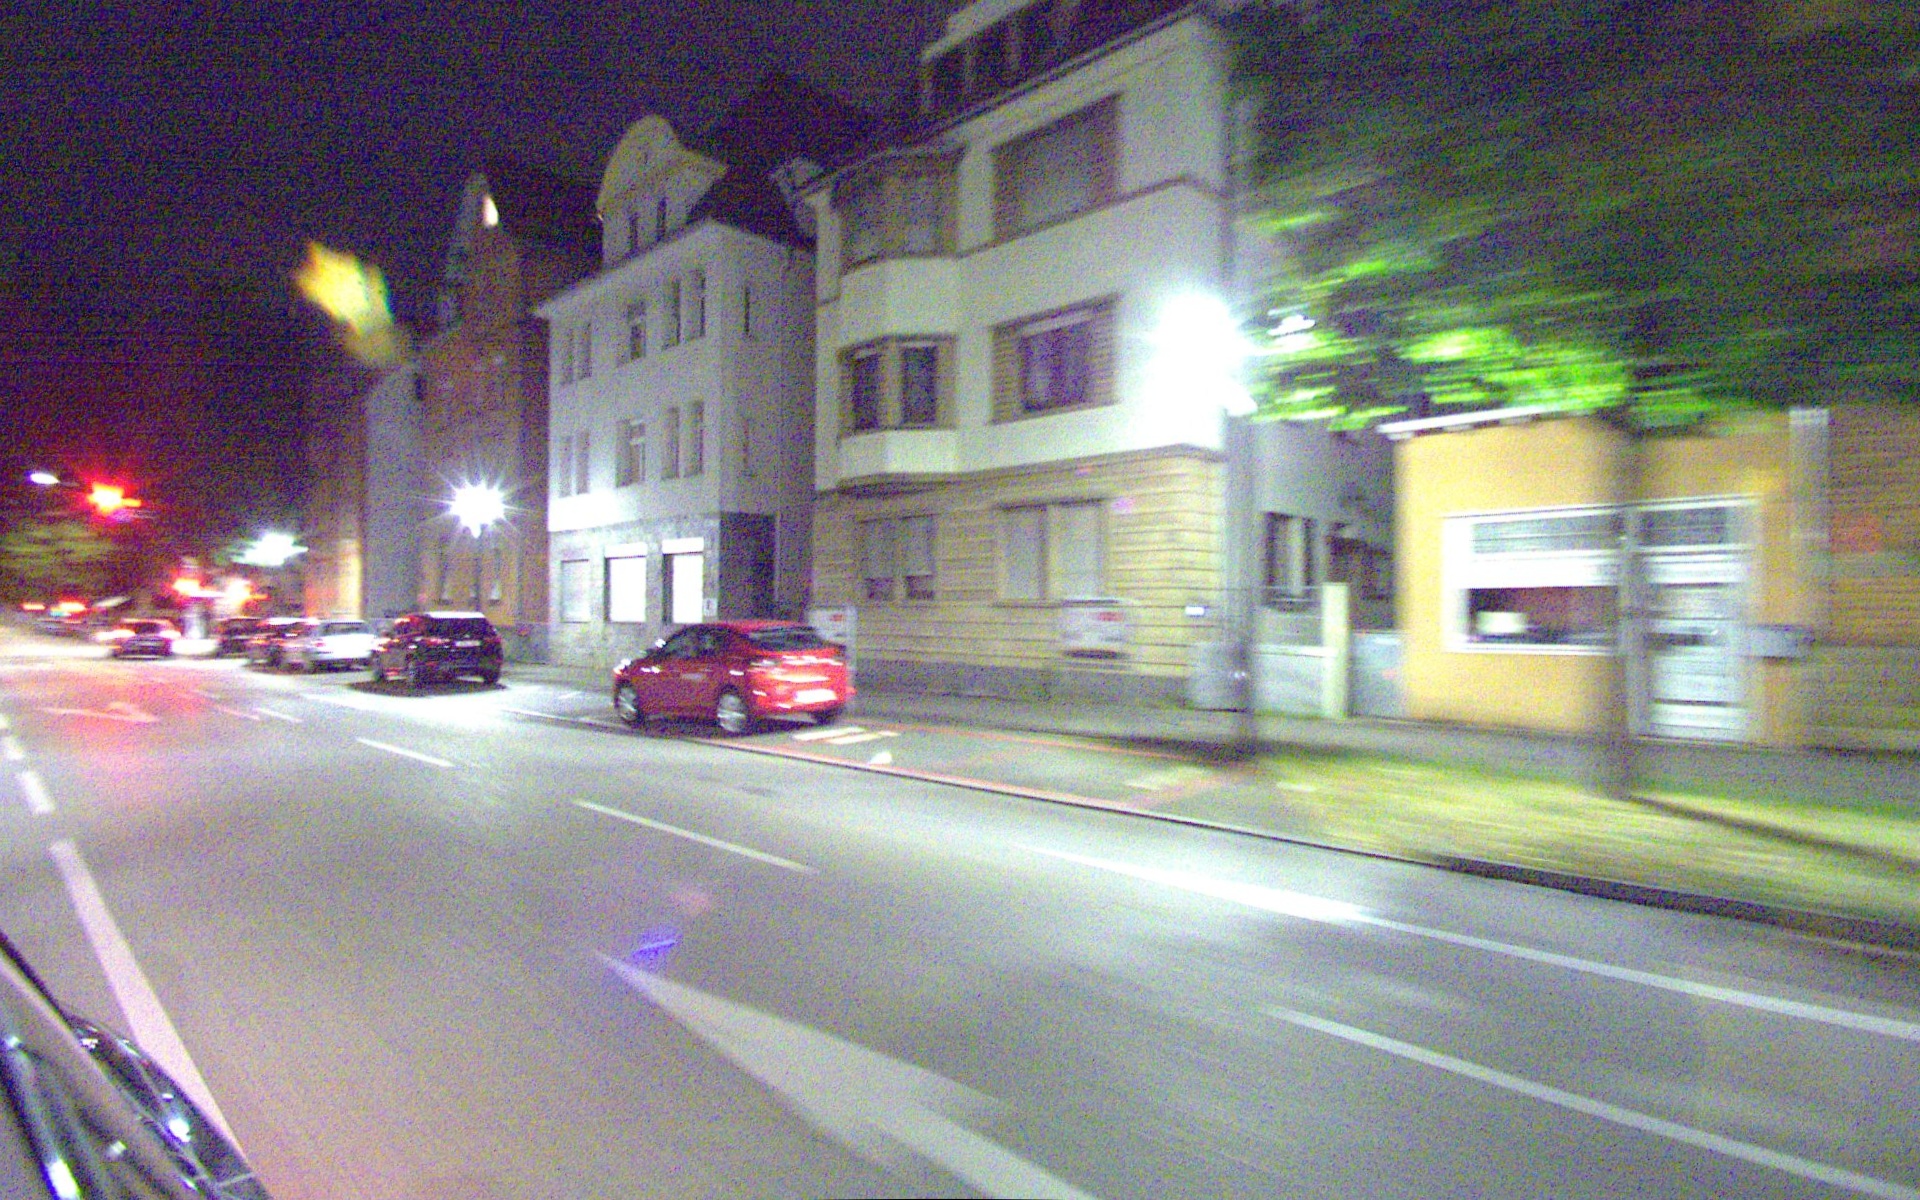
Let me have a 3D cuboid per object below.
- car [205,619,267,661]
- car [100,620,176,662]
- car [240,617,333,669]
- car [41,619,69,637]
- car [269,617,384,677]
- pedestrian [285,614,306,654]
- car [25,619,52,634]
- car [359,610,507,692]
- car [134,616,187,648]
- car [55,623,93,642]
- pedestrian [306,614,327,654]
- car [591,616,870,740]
[{"bbox_3d":[-28.160,1.514,39.322,1.573,1.502,3.705,-2,1,-41],"label":"car"},{"bbox_3d":[-29.980,1.496,36.882,1.695,1.440,4.002,3,-3,-45],"label":"car"},{"bbox_3d":[-21.828,1.337,32.735,1.764,1.502,4.333,-2,1,-43],"label":"car"},{"bbox_3d":[-77.248,2.405,86.337,4.350,1.444,1.534,-1,0,45],"label":"car"},{"bbox_3d":[-17.941,1.277,28.597,4.000,1.502,1.765,-2,1,43],"label":"car"},{"bbox_3d":[-28.704,1.458,43.708,0.700,1.703,1.127,2,-2,-35],"label":"pedestrian"},{"bbox_3d":[-92.695,2.637,101.804,3.512,1.475,1.612,-1,-3,41],"label":"car"},{"bbox_3d":[-11.997,1.091,22.894,1.764,1.594,4.415,-2,1,-44],"label":"car"},{"bbox_3d":[-42.731,1.685,54.079,1.864,1.608,4.027,-1,0,-44],"label":"car"},{"bbox_3d":[-71.151,2.573,81.251,4.403,1.444,1.841,-1,-1,42],"label":"car"},{"bbox_3d":[-28.011,1.476,44.072,0.700,1.703,1.000,2,-2,-35],"label":"pedestrian"},{"bbox_3d":[-3.296,0.977,14.040,4.127,1.426,1.765,-2,0,43],"label":"car"}]
